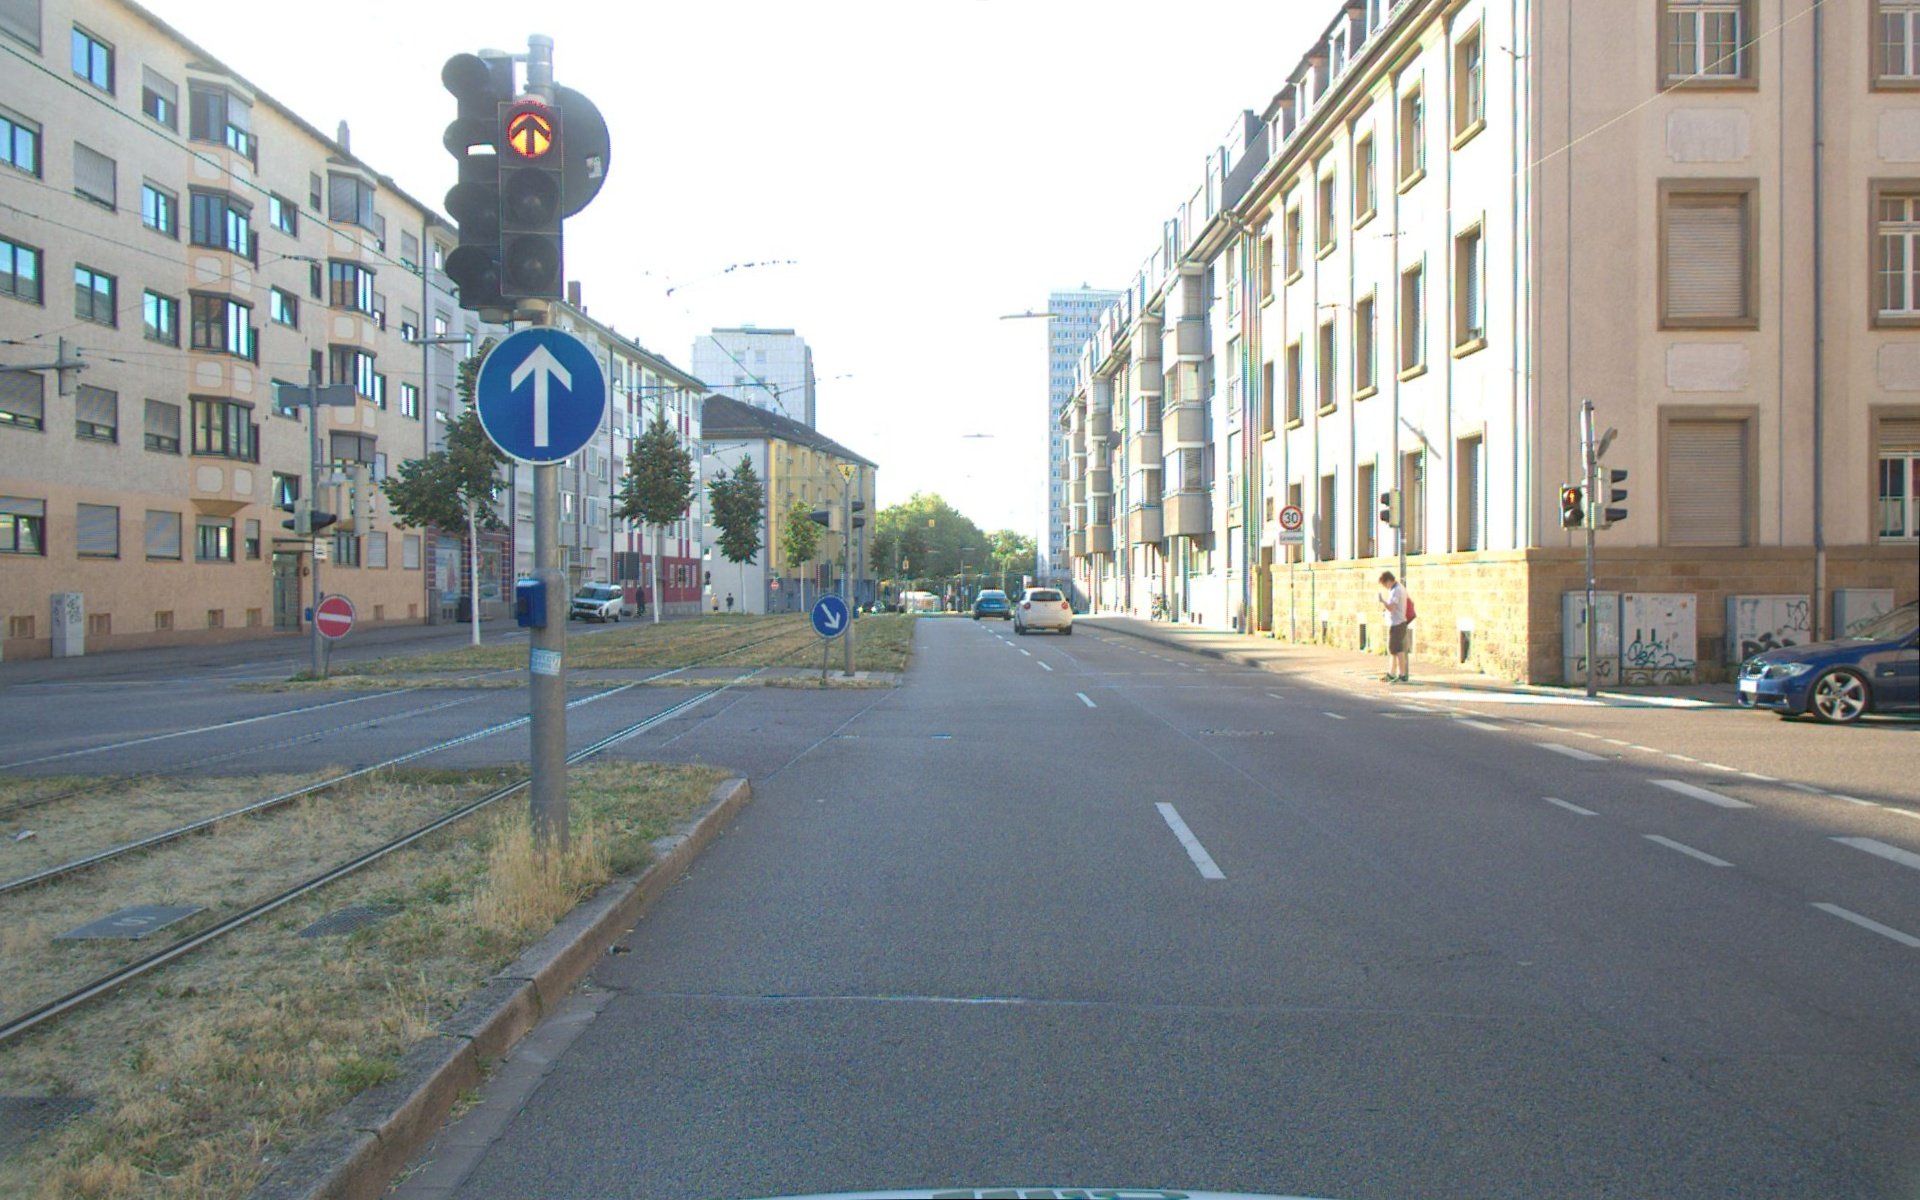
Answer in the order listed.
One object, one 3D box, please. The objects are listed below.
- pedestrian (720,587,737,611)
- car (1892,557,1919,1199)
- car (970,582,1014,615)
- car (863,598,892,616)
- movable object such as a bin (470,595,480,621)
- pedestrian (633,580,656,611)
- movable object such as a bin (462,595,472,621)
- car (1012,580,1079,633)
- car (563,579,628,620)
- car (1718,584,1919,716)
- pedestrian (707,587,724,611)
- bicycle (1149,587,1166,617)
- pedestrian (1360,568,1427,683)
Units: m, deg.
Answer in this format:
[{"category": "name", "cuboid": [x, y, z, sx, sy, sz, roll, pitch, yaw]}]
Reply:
[{"category": "pedestrian", "cuboid": [-16.816, -0.081, 120.171, 0.942, 1.699, 1.011, 1, 0, 4]}, {"category": "car", "cuboid": [2.878, 0.732, 1.463, 1.663, 1.580, 4.225, 1, 0, -1]}, {"category": "car", "cuboid": [1.555, -0.056, 81.736, 1.953, 1.581, 4.392, 1, 0, -2]}, {"category": "car", "cuboid": [-7.826, 0.671, 156.984, 1.857, 1.662, 4.751, -1, 0, 7]}, {"category": "movable object such as a bin", "cuboid": [-20.101, 0.336, 68.558, 0.292, 1.054, 0.441, 1, -1, -2]}, {"category": "pedestrian", "cuboid": [-18.085, -0.252, 94.781, 1.246, 1.791, 1.271, 1, 0, -10]}, {"category": "movable object such as a bin", "cuboid": [-20.238, 0.343, 67.904, 0.292, 1.054, 0.441, 1, -1, 0]}, {"category": "car", "cuboid": [2.715, 0.212, 53.185, 1.952, 1.591, 4.000, 1, 0, 0]}, {"category": "car", "cuboid": [-17.872, -0.018, 81.330, 1.952, 1.958, 4.543, 1, 0, 3]}, {"category": "car", "cuboid": [11.438, 0.565, 19.408, 4.222, 1.481, 1.934, 0, 0, 5]}, {"category": "pedestrian", "cuboid": [-17.666, -0.097, 119.599, 0.942, 1.723, 1.011, 1, 0, 4]}, {"category": "bicycle", "cuboid": [7.395, 0.085, 62.002, 0.376, 1.115, 1.503, -1, 0, -3]}, {"category": "pedestrian", "cuboid": [6.915, 0.400, 26.404, 0.818, 1.793, 0.824, 1, -1, -1]}]
